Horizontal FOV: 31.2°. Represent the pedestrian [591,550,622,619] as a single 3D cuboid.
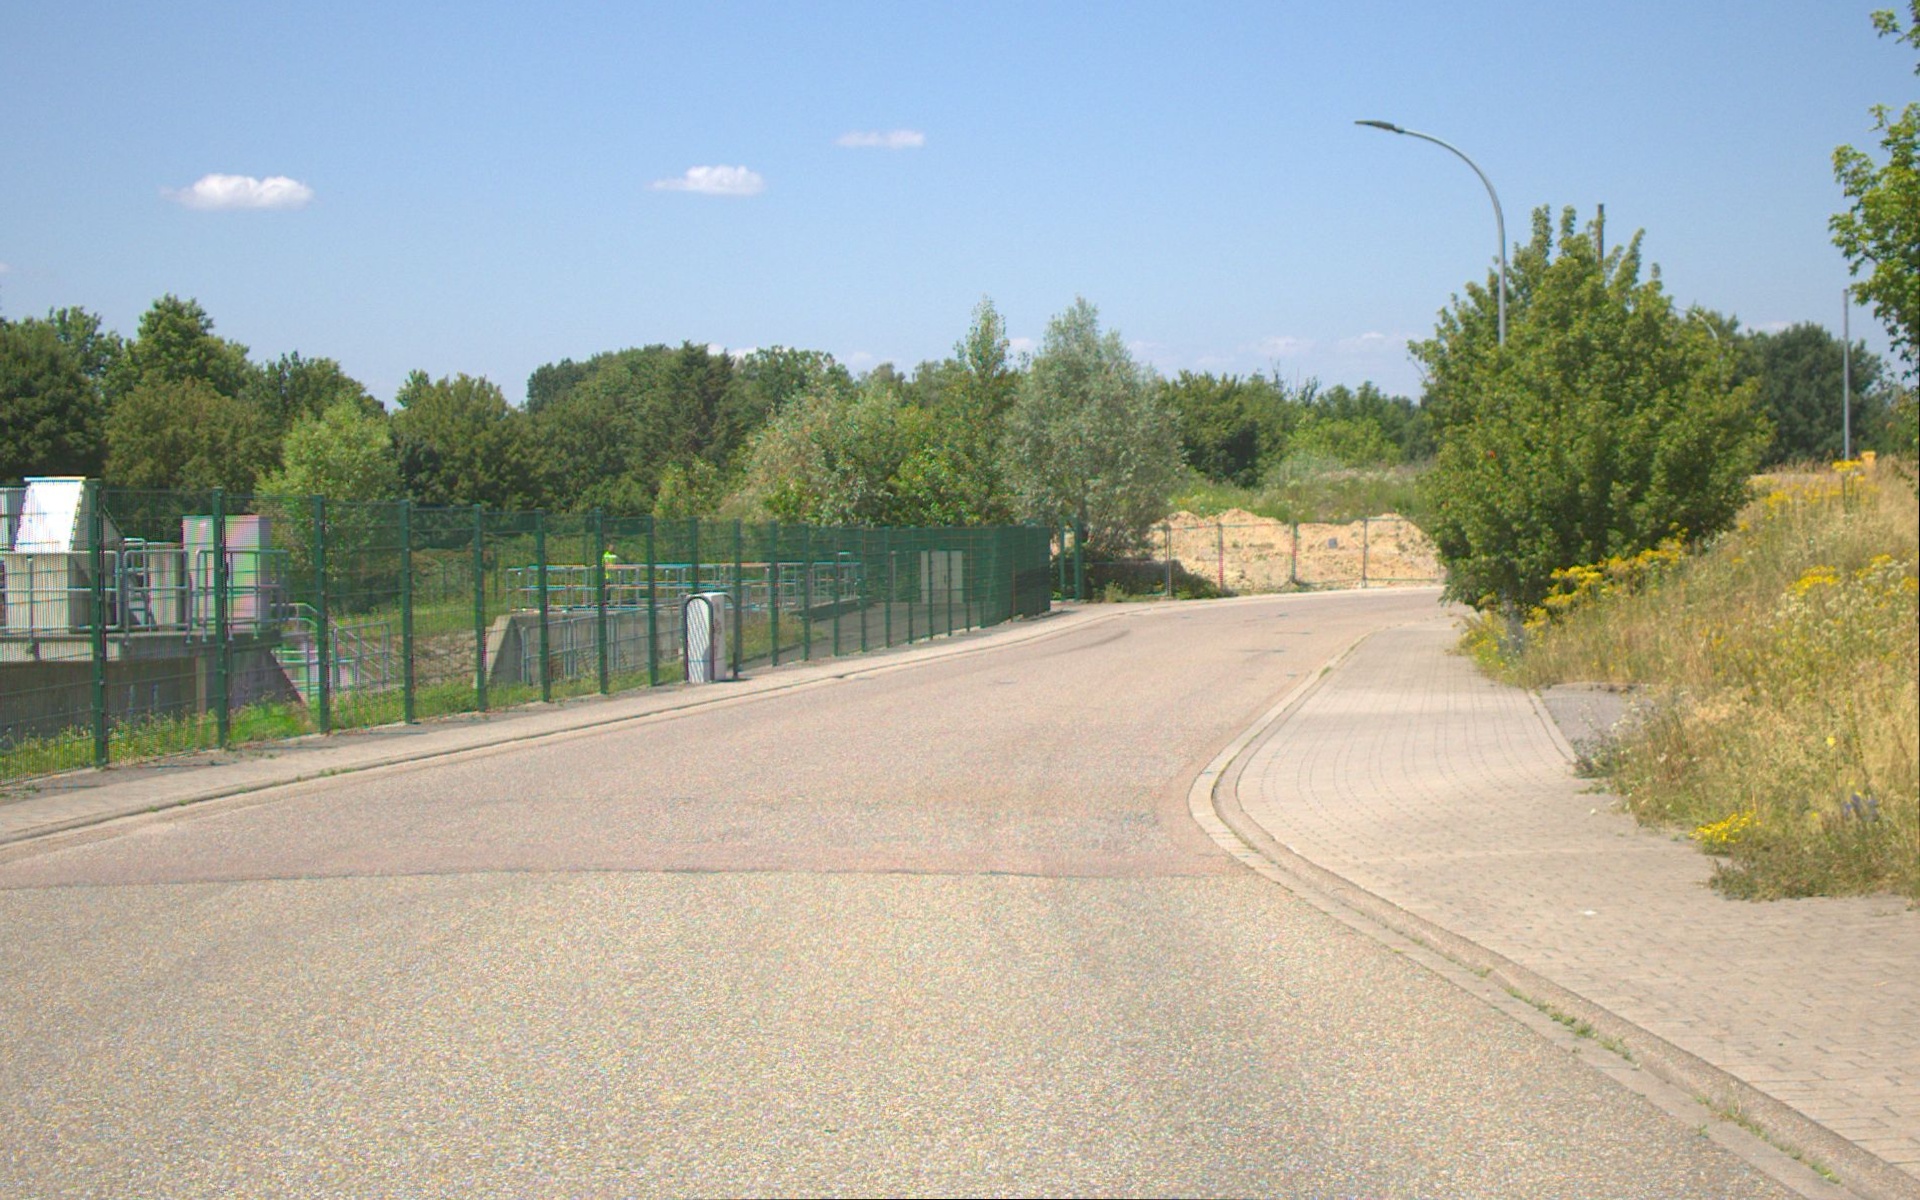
[{"bbox_3d":[-9.512,-0.419,92.560,0.606,1.833,0.805,-1,1,7],"label":"pedestrian"}]
